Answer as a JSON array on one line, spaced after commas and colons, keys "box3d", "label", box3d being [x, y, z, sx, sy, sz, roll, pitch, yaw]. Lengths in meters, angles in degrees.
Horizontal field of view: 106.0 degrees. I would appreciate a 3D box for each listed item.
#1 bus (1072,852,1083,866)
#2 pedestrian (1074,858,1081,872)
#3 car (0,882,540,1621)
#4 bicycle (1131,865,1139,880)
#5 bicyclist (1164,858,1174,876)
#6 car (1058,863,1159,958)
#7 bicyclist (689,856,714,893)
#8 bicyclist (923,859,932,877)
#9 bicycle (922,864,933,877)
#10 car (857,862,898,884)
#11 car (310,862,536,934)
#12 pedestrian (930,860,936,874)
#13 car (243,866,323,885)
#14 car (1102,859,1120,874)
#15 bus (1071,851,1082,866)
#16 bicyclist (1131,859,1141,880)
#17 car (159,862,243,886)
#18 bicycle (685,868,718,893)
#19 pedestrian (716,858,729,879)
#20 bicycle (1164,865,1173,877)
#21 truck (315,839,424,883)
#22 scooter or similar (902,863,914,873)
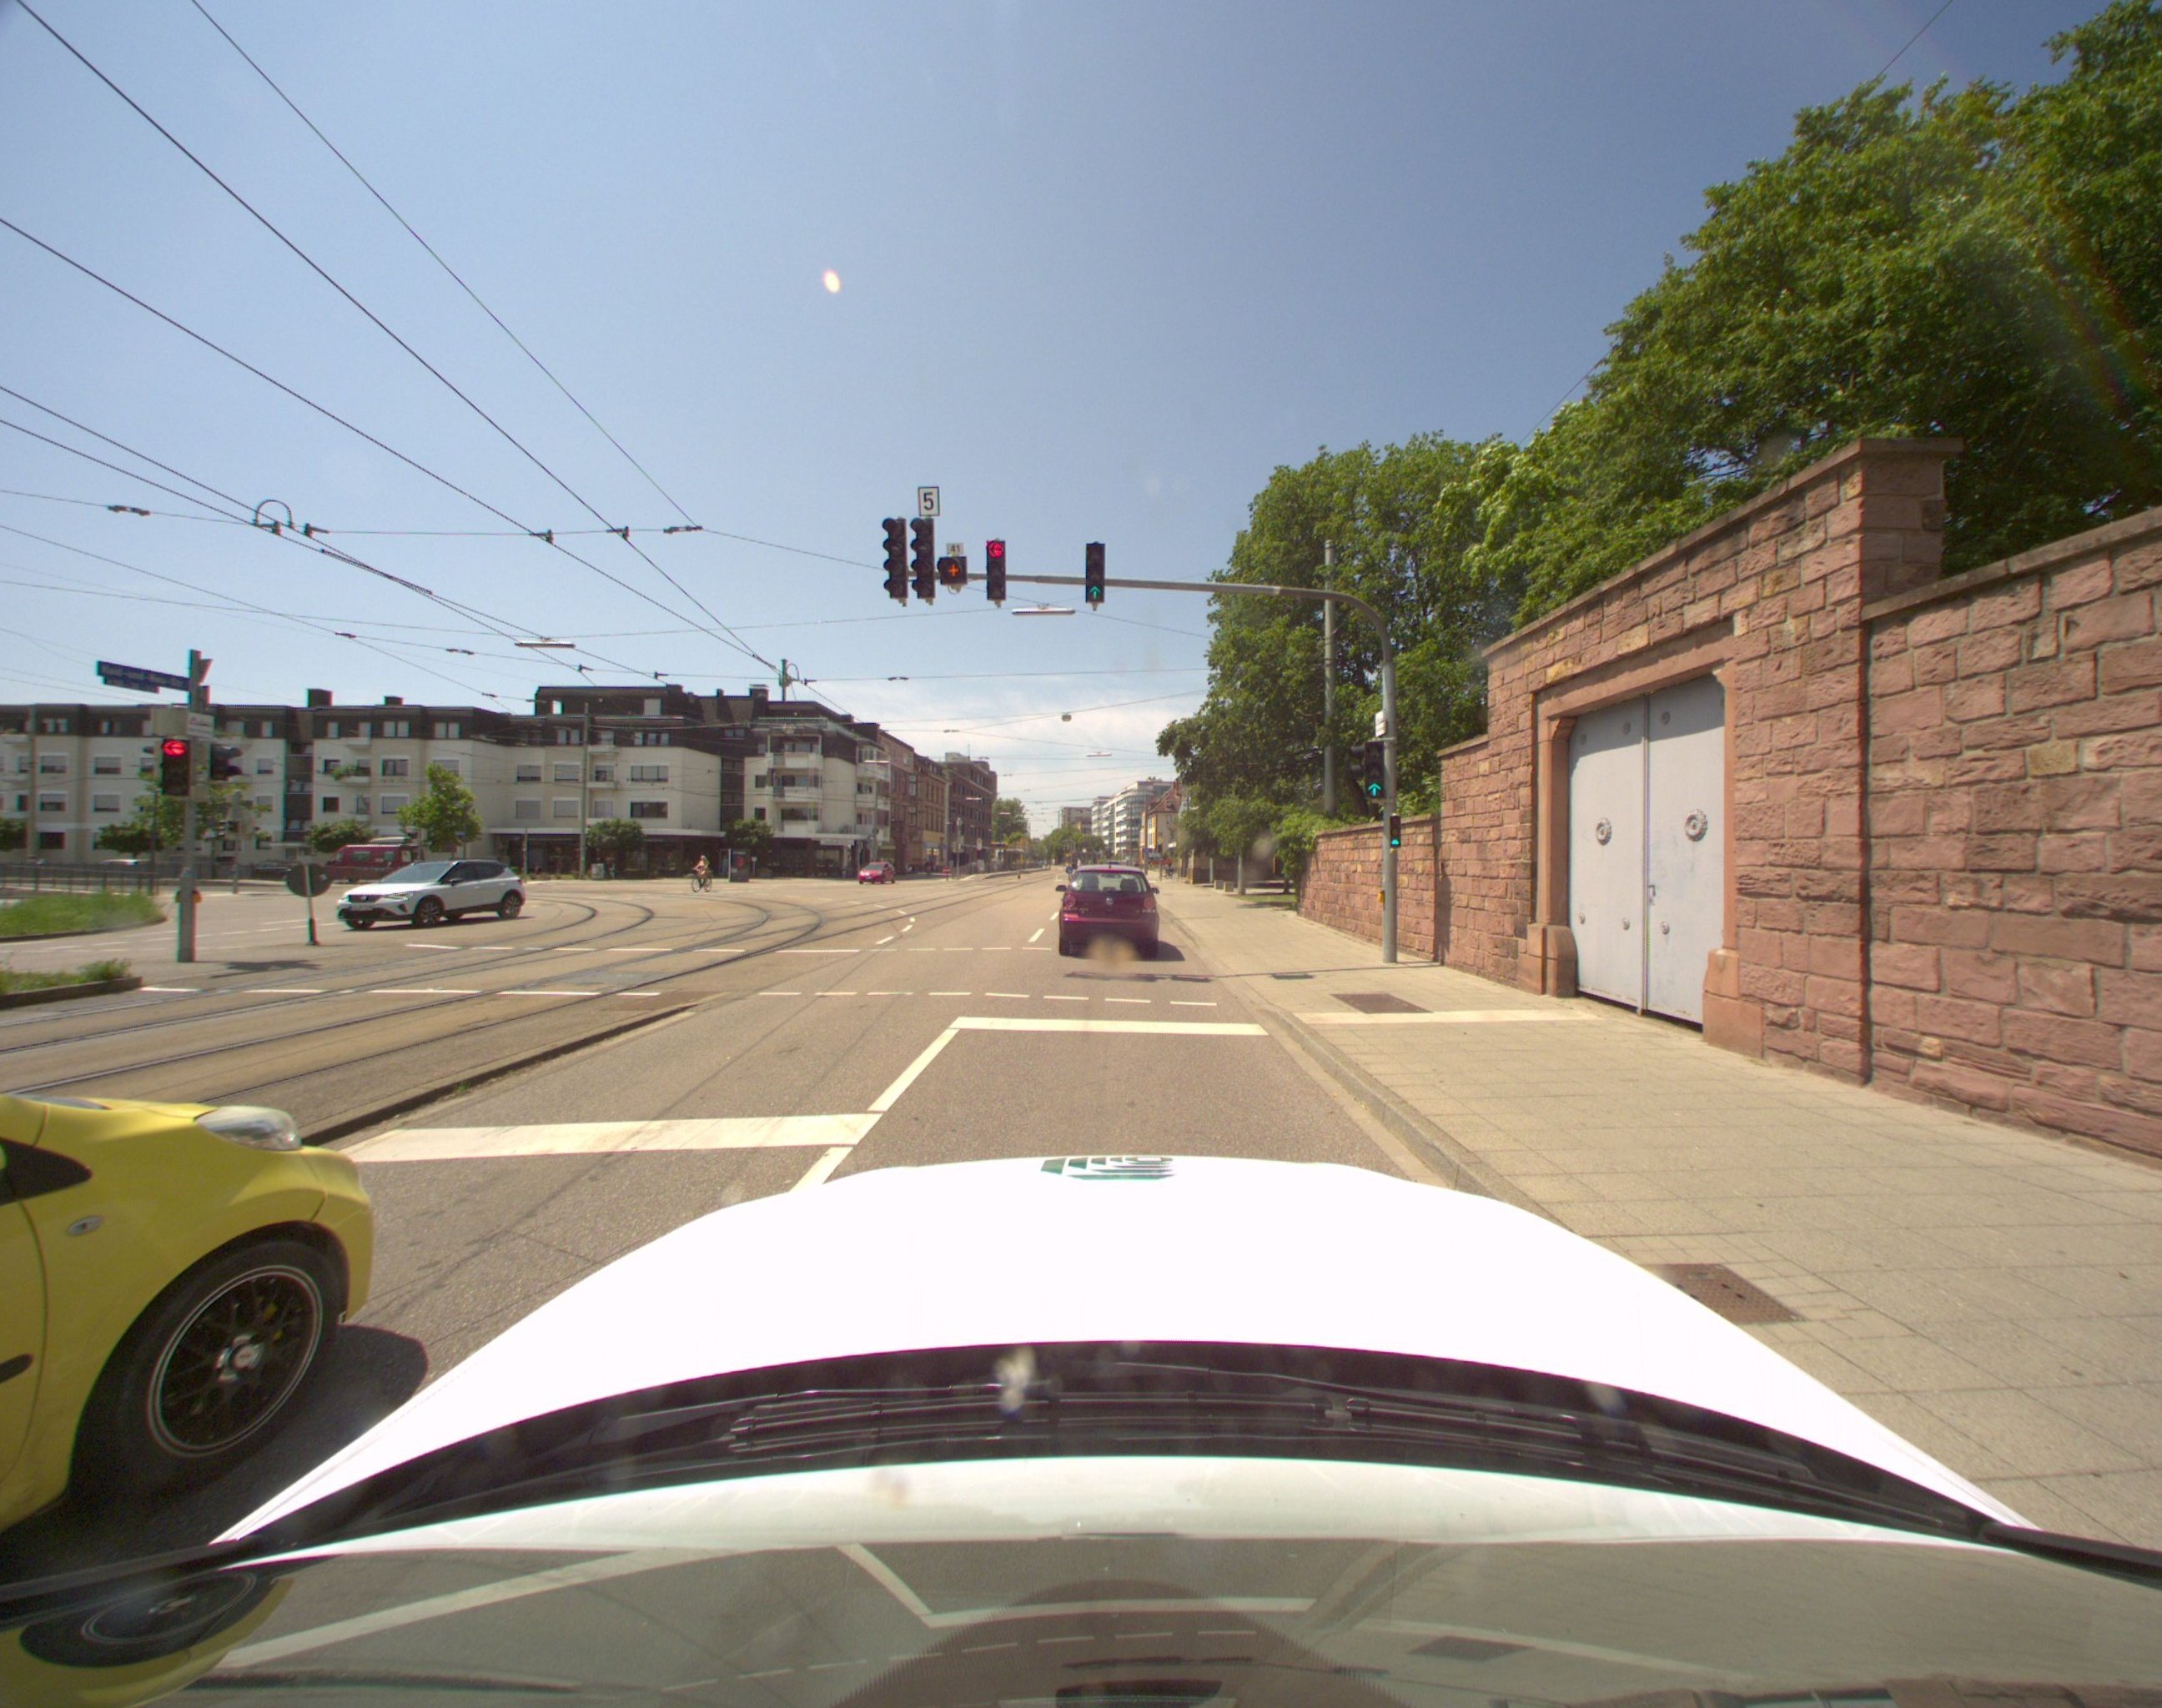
[{"box3d": [-0.788, 1.089, 173.575, 2.225, 3.003, 6.594, 0, -1, 1], "label": "bus"}, {"box3d": [-0.402, 1.351, 100.681, 0.760, 1.674, 1.101, 0, -1, 3], "label": "pedestrian"}, {"box3d": [-2.954, 0.817, 1.316, 1.610, 1.421, 3.656, -2, -1, 1], "label": "car"}, {"box3d": [4.678, 1.598, 70.522, 0.373, 1.197, 1.912, 0, 0, 13], "label": "bicycle"}, {"box3d": [8.047, 1.211, 74.587, 0.829, 1.618, 0.860, -3, 0, 2], "label": "bicyclist"}, {"box3d": [0.466, 0.896, 14.140, 1.555, 1.453, 3.062, 0, -1, 1], "label": "car"}, {"box3d": [-18.703, 0.986, 40.130, 0.692, 1.765, 1.137, 0, 0, 1], "label": "bicyclist"}, {"box3d": [-15.643, 1.415, 82.884, 0.730, 1.762, 1.134, 0, 0, 0], "label": "bicyclist"}, {"box3d": [-15.588, 1.654, 82.822, 0.674, 1.304, 2.104, 0, 0, 0], "label": "bicycle"}, {"box3d": [-14.125, 1.325, 56.716, 1.617, 1.484, 3.833, 0, -1, 4], "label": "car"}, {"box3d": [-15.728, 0.972, 19.823, 1.985, 1.553, 4.142, 0, -1, 2], "label": "car"}, {"box3d": [-16.849, 1.491, 92.597, 0.612, 1.560, 0.640, 0, 0, 1], "label": "pedestrian"}, {"box3d": [-50.592, 1.351, 51.662, 3.555, 1.219, 1.591, 0, -1, 2], "label": "car"}, {"box3d": [3.364, 1.379, 91.081, 1.985, 1.624, 4.635, 0, -1, 3], "label": "car"}, {"box3d": [-0.931, 0.887, 166.980, 2.137, 3.003, 6.574, 0, -1, 1], "label": "bus"}, {"box3d": [4.756, 1.319, 70.586, 0.722, 1.760, 0.927, 0, 0, 12], "label": "bicyclist"}, {"box3d": [-55.189, 1.244, 51.114, 3.555, 1.433, 1.591, 0, -1, 2], "label": "car"}, {"box3d": [-18.710, 1.310, 40.173, 0.692, 1.149, 1.932, 0, 0, 1], "label": "bicycle"}, {"box3d": [-28.657, 1.180, 65.088, 0.697, 1.697, 0.807, 0, -1, -2], "label": "pedestrian"}, {"box3d": [7.979, 1.531, 74.643, 0.665, 1.002, 1.865, -3, 0, 2], "label": "bicycle"}, {"box3d": [-44.821, 0.437, 51.377, 5.006, 2.698, 2.188, 0, -1, 2], "label": "truck"}, {"box3d": [-18.967, 1.500, 89.373, 0.484, 1.082, 1.584, 0, 0, 19], "label": "scooter or similar"}]
